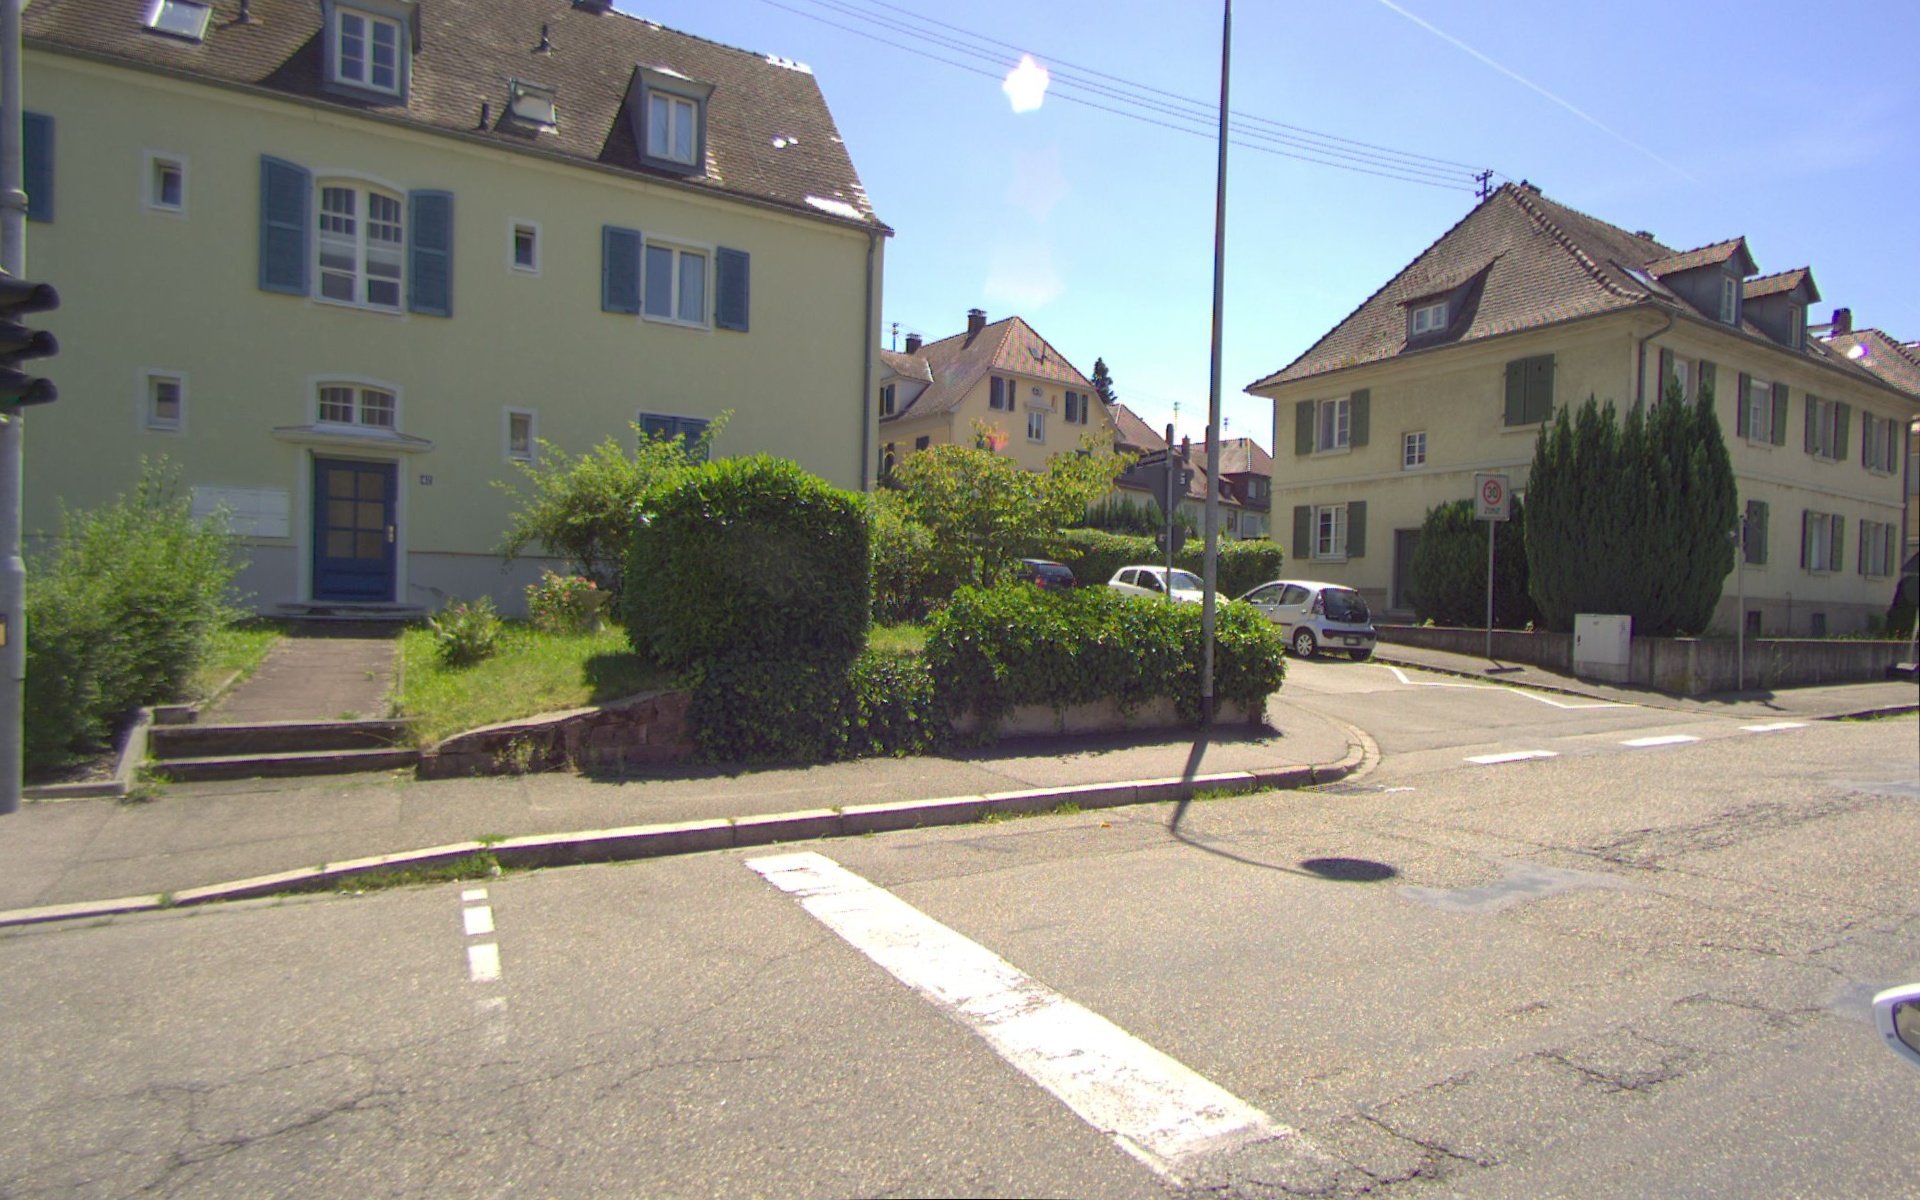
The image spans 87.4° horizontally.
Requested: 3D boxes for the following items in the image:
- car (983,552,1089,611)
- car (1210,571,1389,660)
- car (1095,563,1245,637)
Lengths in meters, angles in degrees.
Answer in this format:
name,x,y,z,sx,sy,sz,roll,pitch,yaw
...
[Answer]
name,x,y,z,sx,sy,sz,roll,pitch,yaw
car,2.232,-0.590,30.312,1.713,1.476,3.189,2,4,-28
car,6.891,0.279,20.674,1.711,1.476,3.193,2,4,-24
car,4.958,-0.048,24.172,1.725,1.476,3.570,2,3,-24
